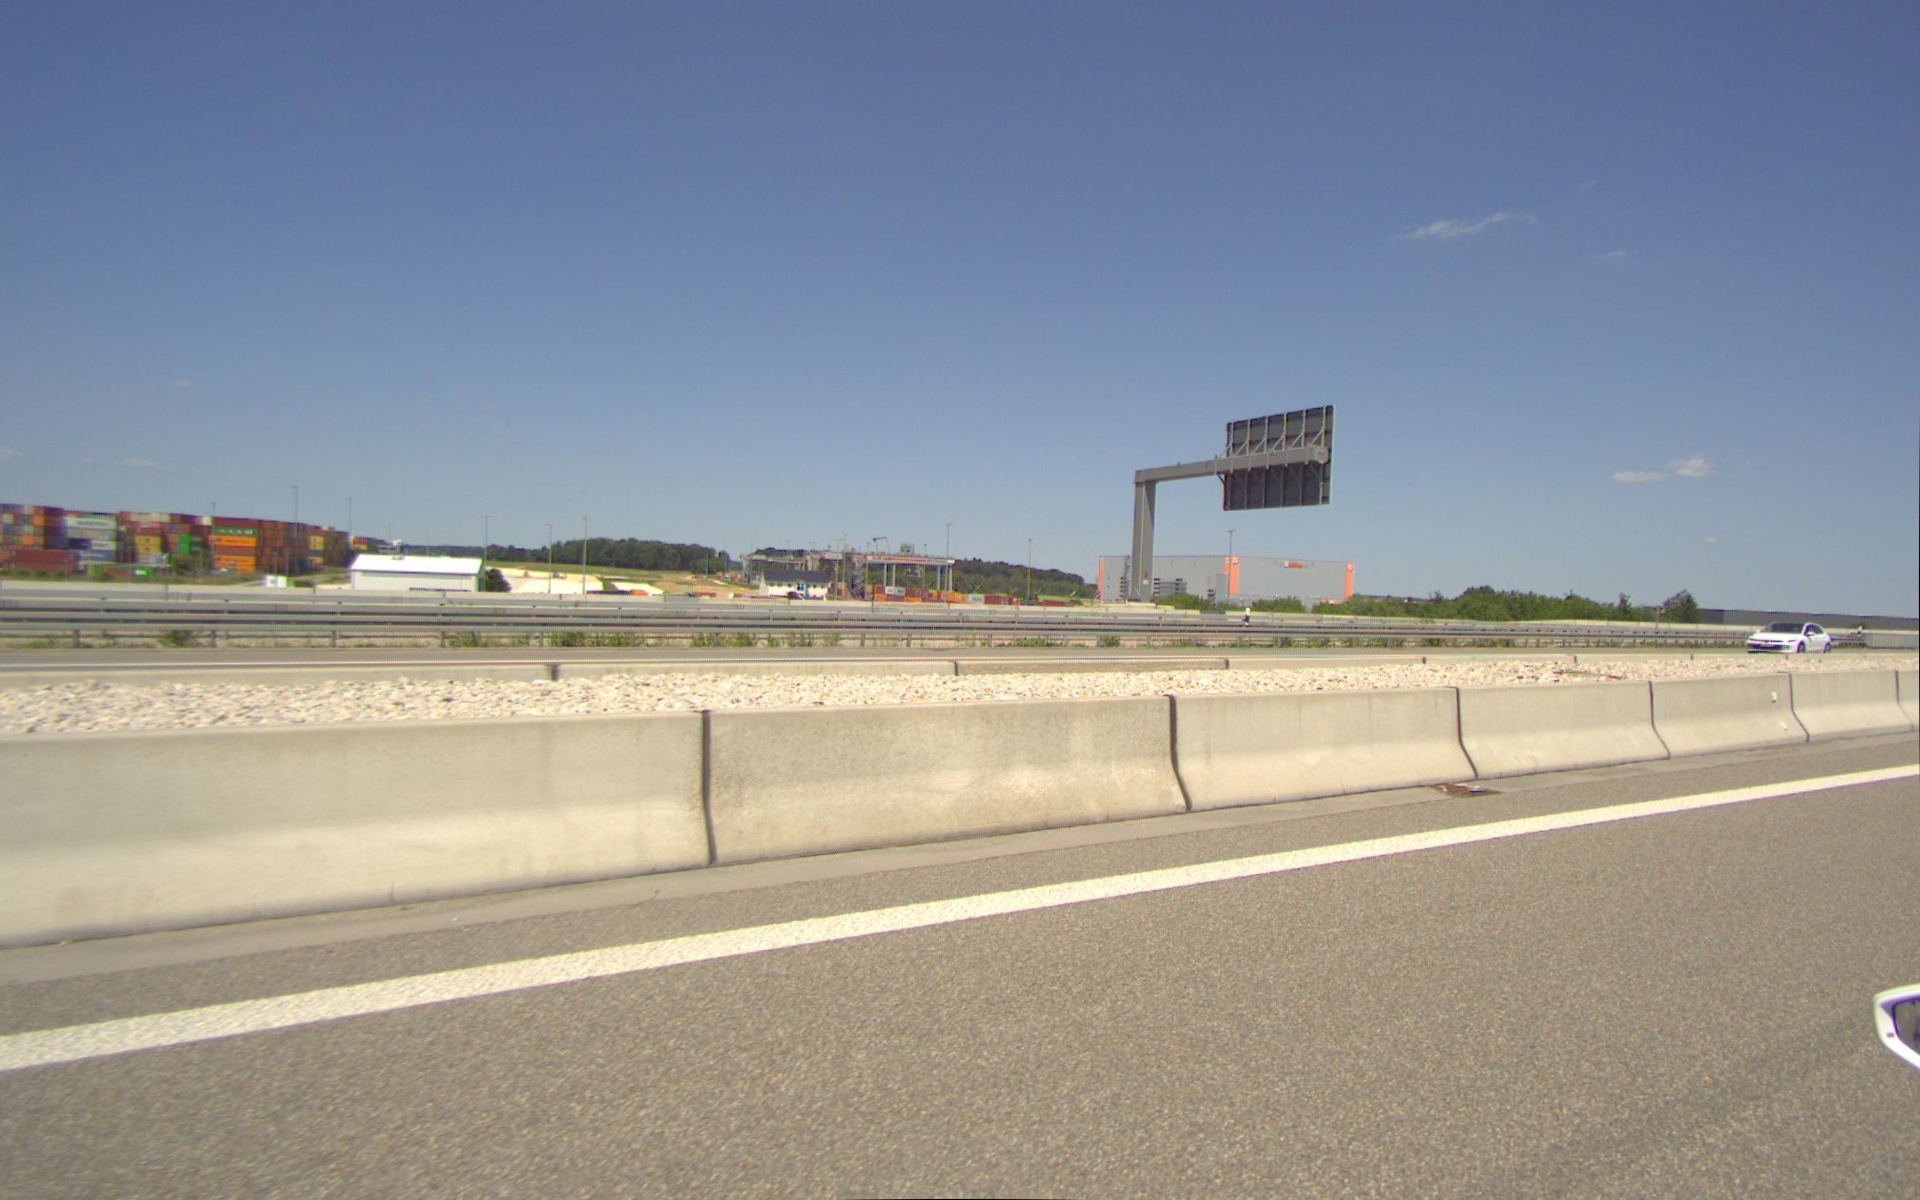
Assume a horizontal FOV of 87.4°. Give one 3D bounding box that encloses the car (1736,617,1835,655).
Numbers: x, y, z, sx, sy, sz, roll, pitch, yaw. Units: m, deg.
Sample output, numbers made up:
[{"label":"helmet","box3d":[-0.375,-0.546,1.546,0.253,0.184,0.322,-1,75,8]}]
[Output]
[{"label":"car","box3d":[34.632,1.518,42.134,4.390,1.454,1.800,1,0,-31]}]
